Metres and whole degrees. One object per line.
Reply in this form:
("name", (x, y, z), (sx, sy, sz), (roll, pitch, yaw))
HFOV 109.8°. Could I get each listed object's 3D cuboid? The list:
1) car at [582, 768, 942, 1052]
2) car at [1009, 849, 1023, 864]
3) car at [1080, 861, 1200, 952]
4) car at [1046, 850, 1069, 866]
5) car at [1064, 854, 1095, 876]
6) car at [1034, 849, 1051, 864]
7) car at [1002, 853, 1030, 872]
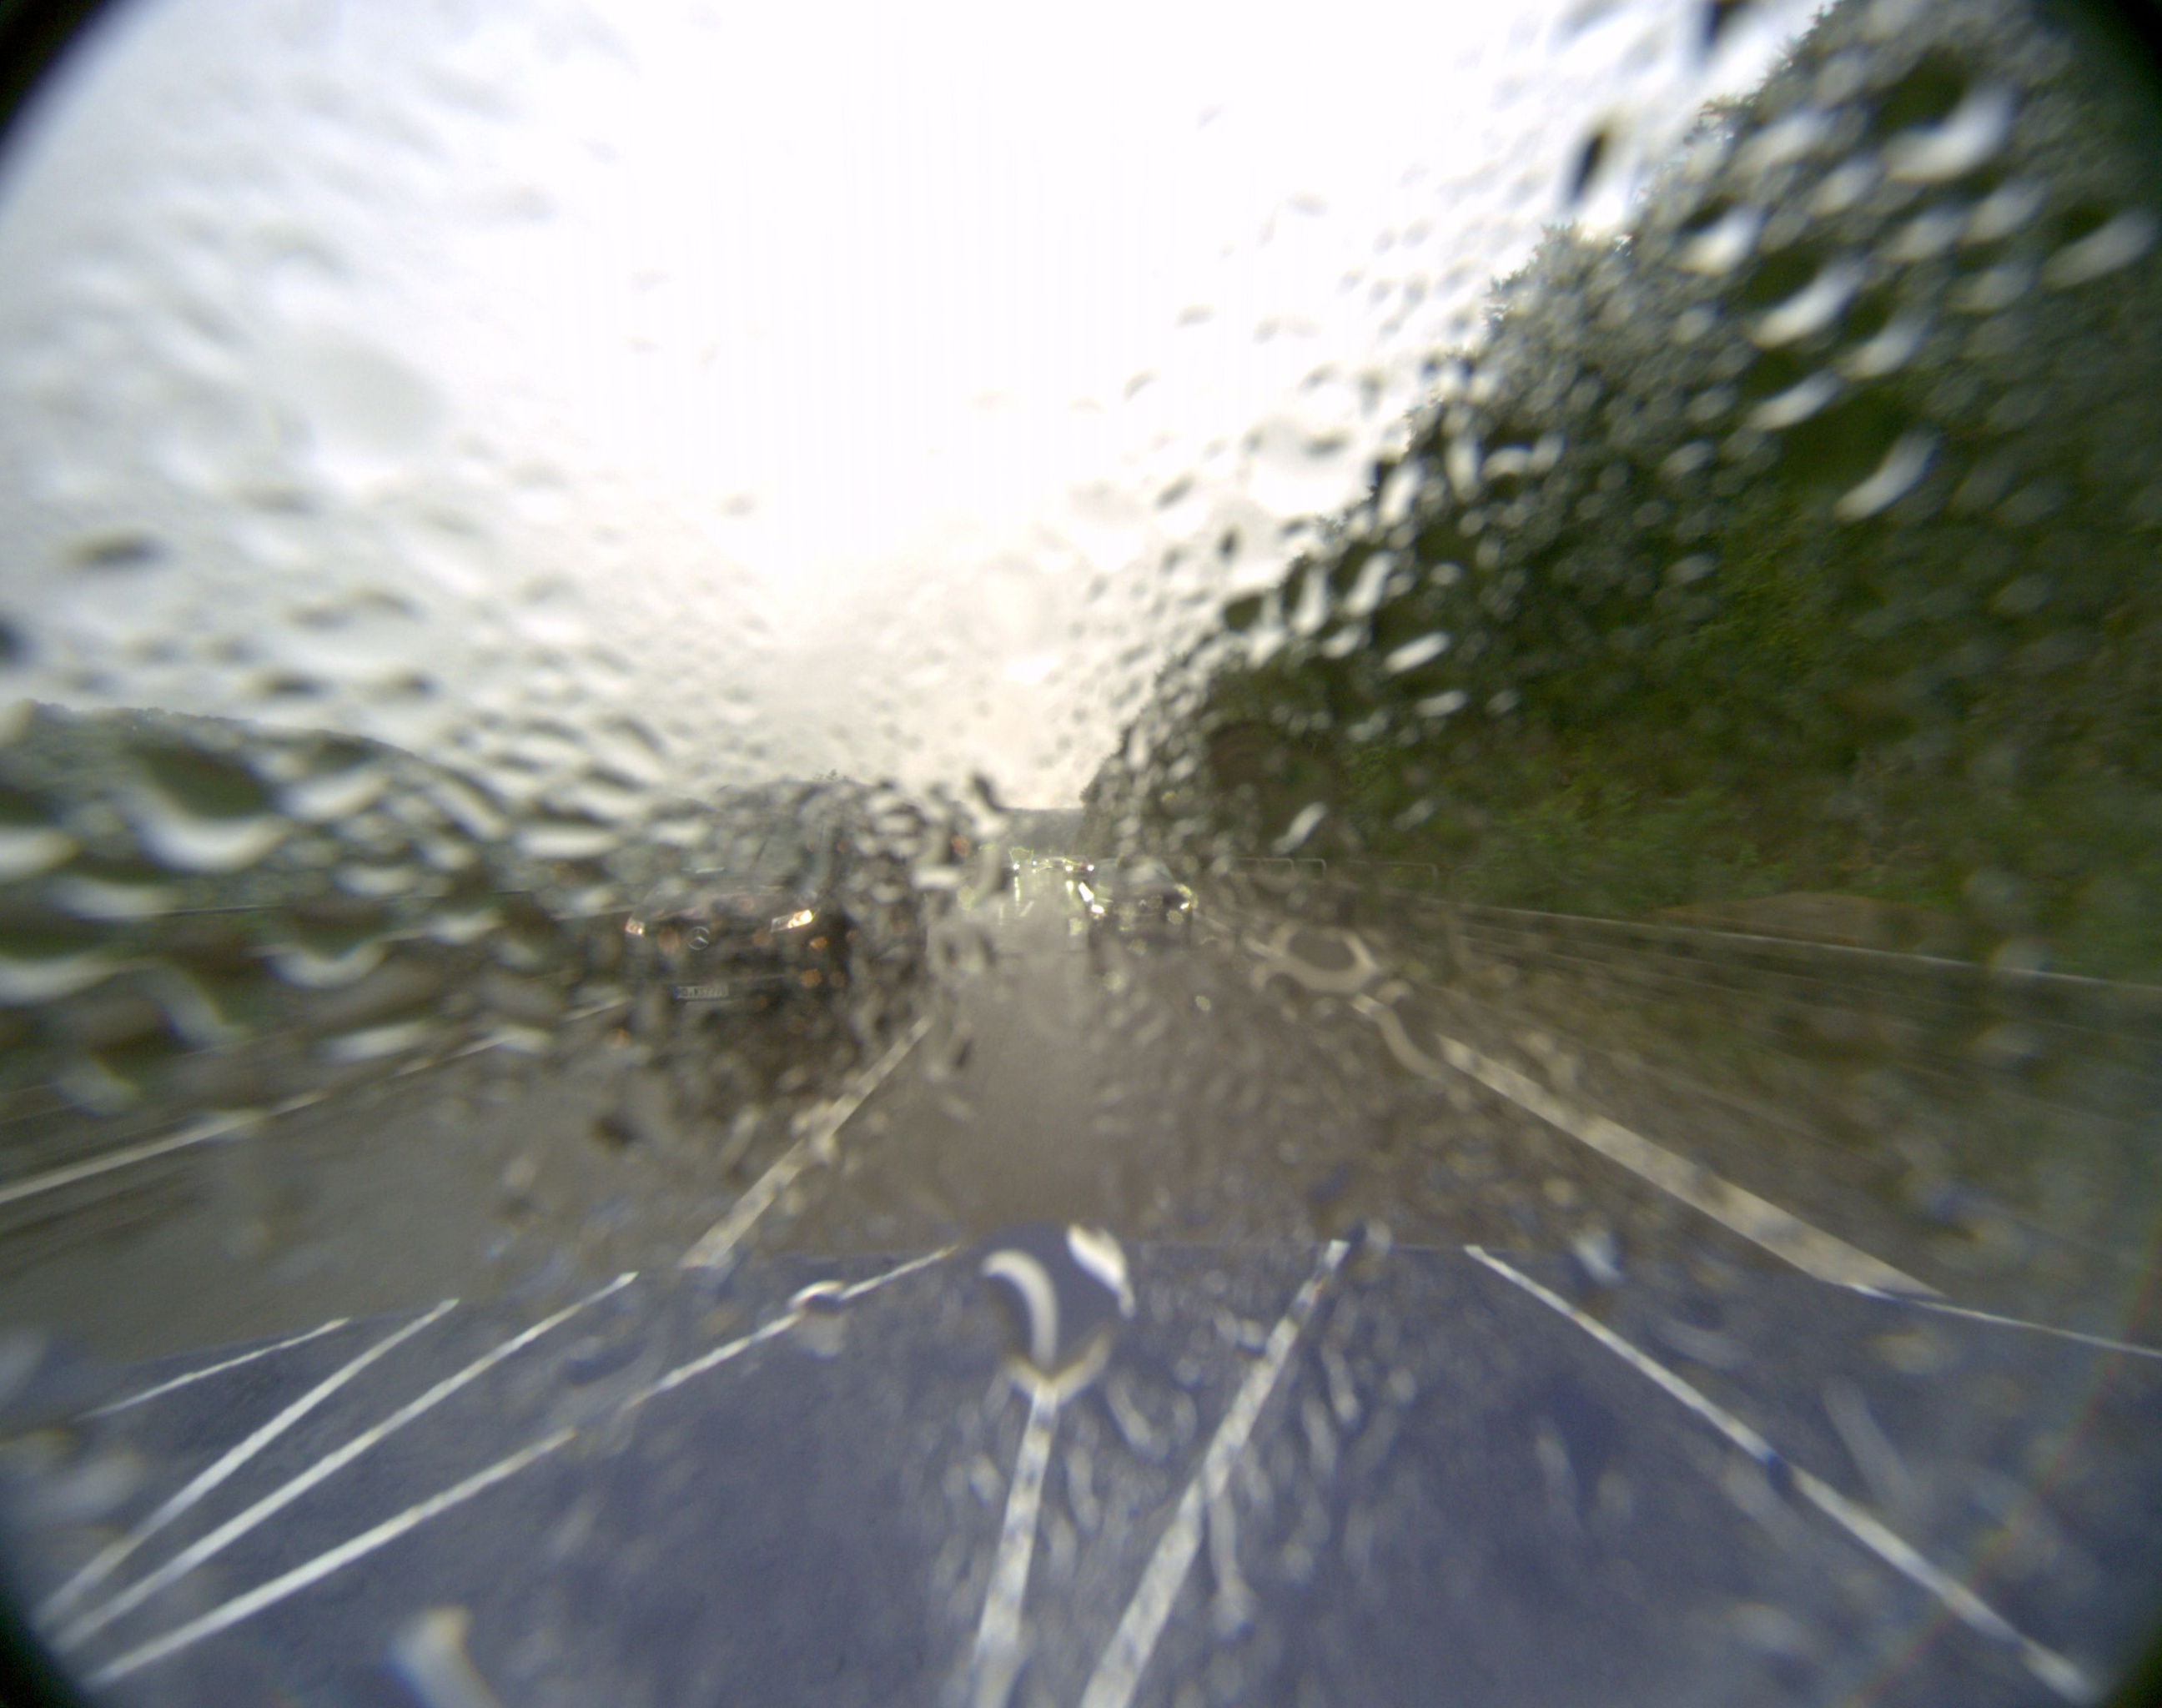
("car", (-3.471, 0.482, 10.185), (1.999, 2.480, 6.703), (-2, 1, -1))
("car", (-8.305, 0.296, 97.496), (1.766, 1.851, 3.766), (-2, 0, -4))
("car", (0.946, 0.859, 14.268), (1.839, 1.316, 4.134), (-2, 0, -1))
("car", (-2.415, 0.405, 77.675), (1.907, 1.545, 4.561), (-2, 0, -6))
("car", (-0.114, 0.679, 48.637), (1.713, 1.316, 3.943), (0, 0, -4))
("car", (-4.559, 0.302, 89.454), (1.806, 1.723, 3.764), (-2, 0, -5))
("car", (-5.194, 0.666, 60.851), (1.991, 1.407, 4.563), (-2, 0, -2))
